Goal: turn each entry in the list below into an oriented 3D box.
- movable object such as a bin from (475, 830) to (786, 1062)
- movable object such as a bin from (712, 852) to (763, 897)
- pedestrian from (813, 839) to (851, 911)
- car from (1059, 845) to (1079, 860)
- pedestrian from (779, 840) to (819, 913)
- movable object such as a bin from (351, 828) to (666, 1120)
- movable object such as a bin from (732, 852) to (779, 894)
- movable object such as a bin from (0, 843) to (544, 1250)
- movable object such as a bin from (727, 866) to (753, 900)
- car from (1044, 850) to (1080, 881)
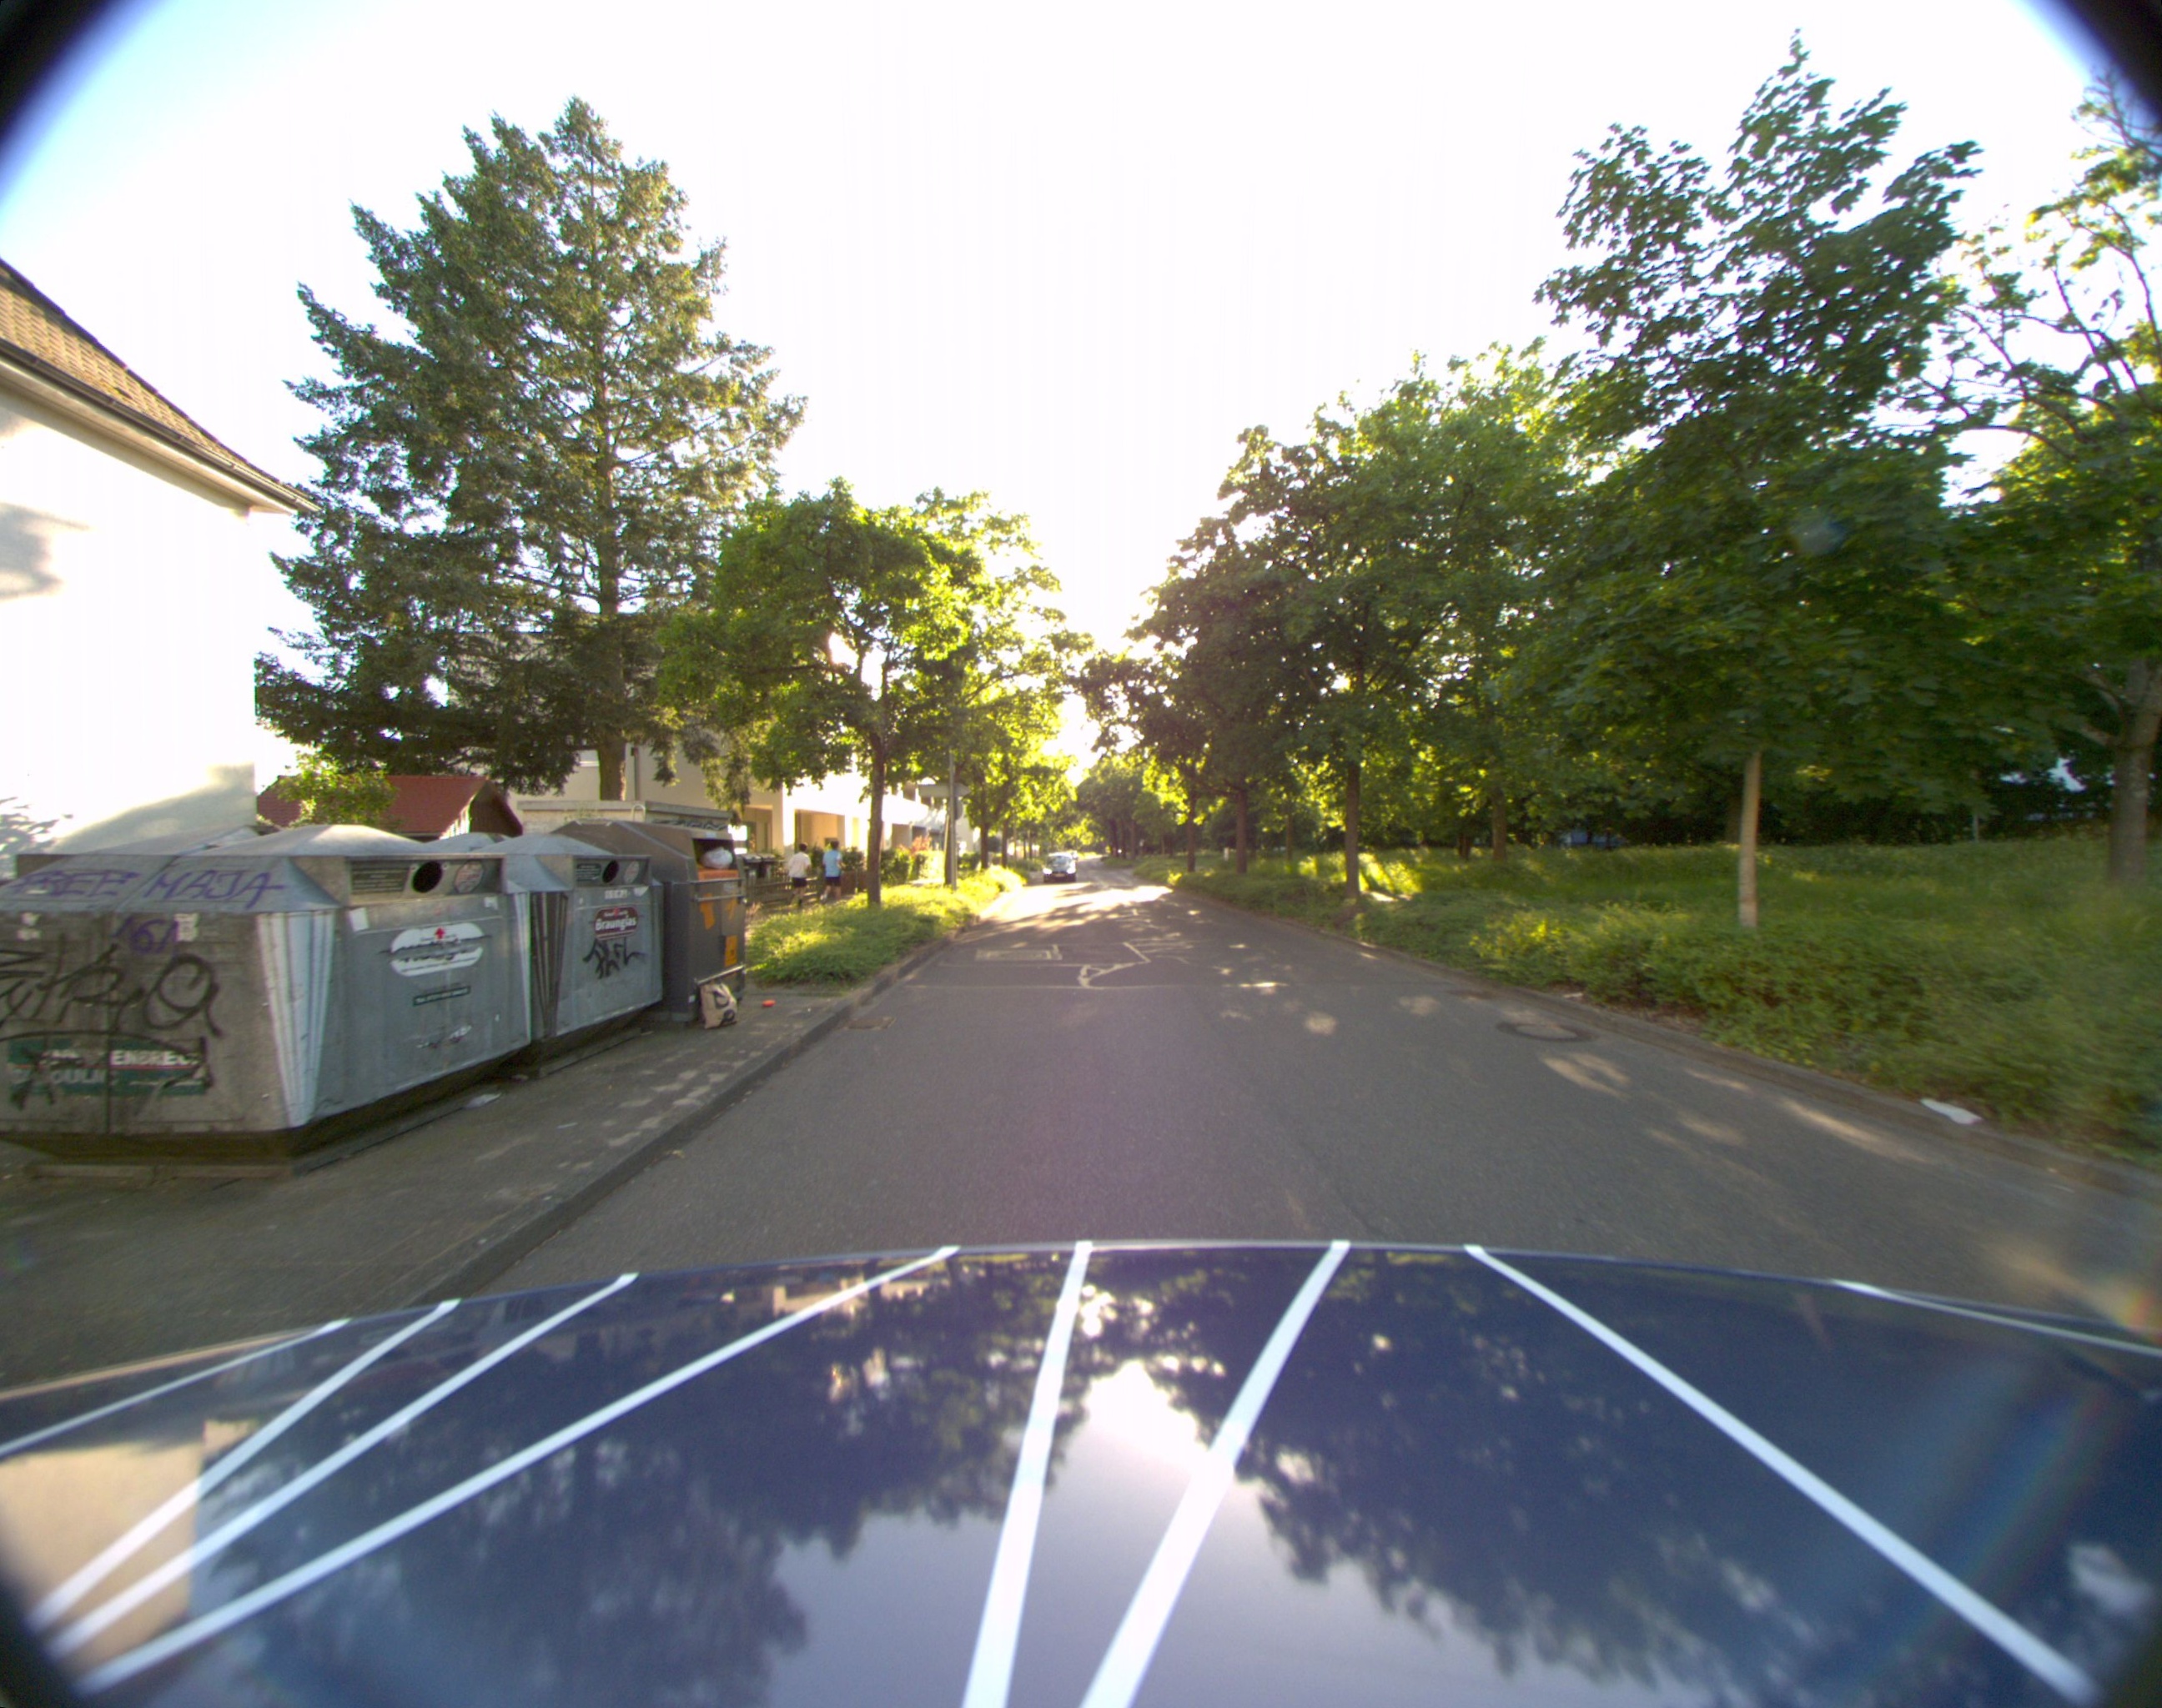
[{"bbox_3d":[-3.952,0.745,6.925,1.925,1.843,1.393,-2,1,-1],"label":"movable object such as a bin"},{"bbox_3d":[-11.269,0.655,25.002,1.081,1.422,1.387,1,1,-2],"label":"movable object such as a bin"},{"bbox_3d":[-6.693,0.549,20.479,0.674,1.883,0.895,-2,1,-1],"label":"pedestrian"},{"bbox_3d":[-1.314,-0.144,82.089,1.998,1.531,3.999,-2,1,1],"label":"car"},{"bbox_3d":[-7.562,0.577,20.430,0.644,1.883,1.018,-2,1,-1],"label":"pedestrian"},{"bbox_3d":[-3.991,0.749,5.497,1.150,1.817,1.386,-2,1,-1],"label":"movable object such as a bin"},{"bbox_3d":[-11.319,0.642,26.466,1.081,1.419,1.366,1,1,-2],"label":"movable object such as a bin"},{"bbox_3d":[-4.197,0.792,3.944,1.590,1.648,1.639,-2,1,-1],"label":"movable object such as a bin"},{"bbox_3d":[-10.665,0.906,23.793,0.539,1.024,0.615,1,1,-2],"label":"movable object such as a bin"},{"bbox_3d":[-1.125,0.616,43.685,1.890,1.613,4.617,-2,1,-3],"label":"car"}]
